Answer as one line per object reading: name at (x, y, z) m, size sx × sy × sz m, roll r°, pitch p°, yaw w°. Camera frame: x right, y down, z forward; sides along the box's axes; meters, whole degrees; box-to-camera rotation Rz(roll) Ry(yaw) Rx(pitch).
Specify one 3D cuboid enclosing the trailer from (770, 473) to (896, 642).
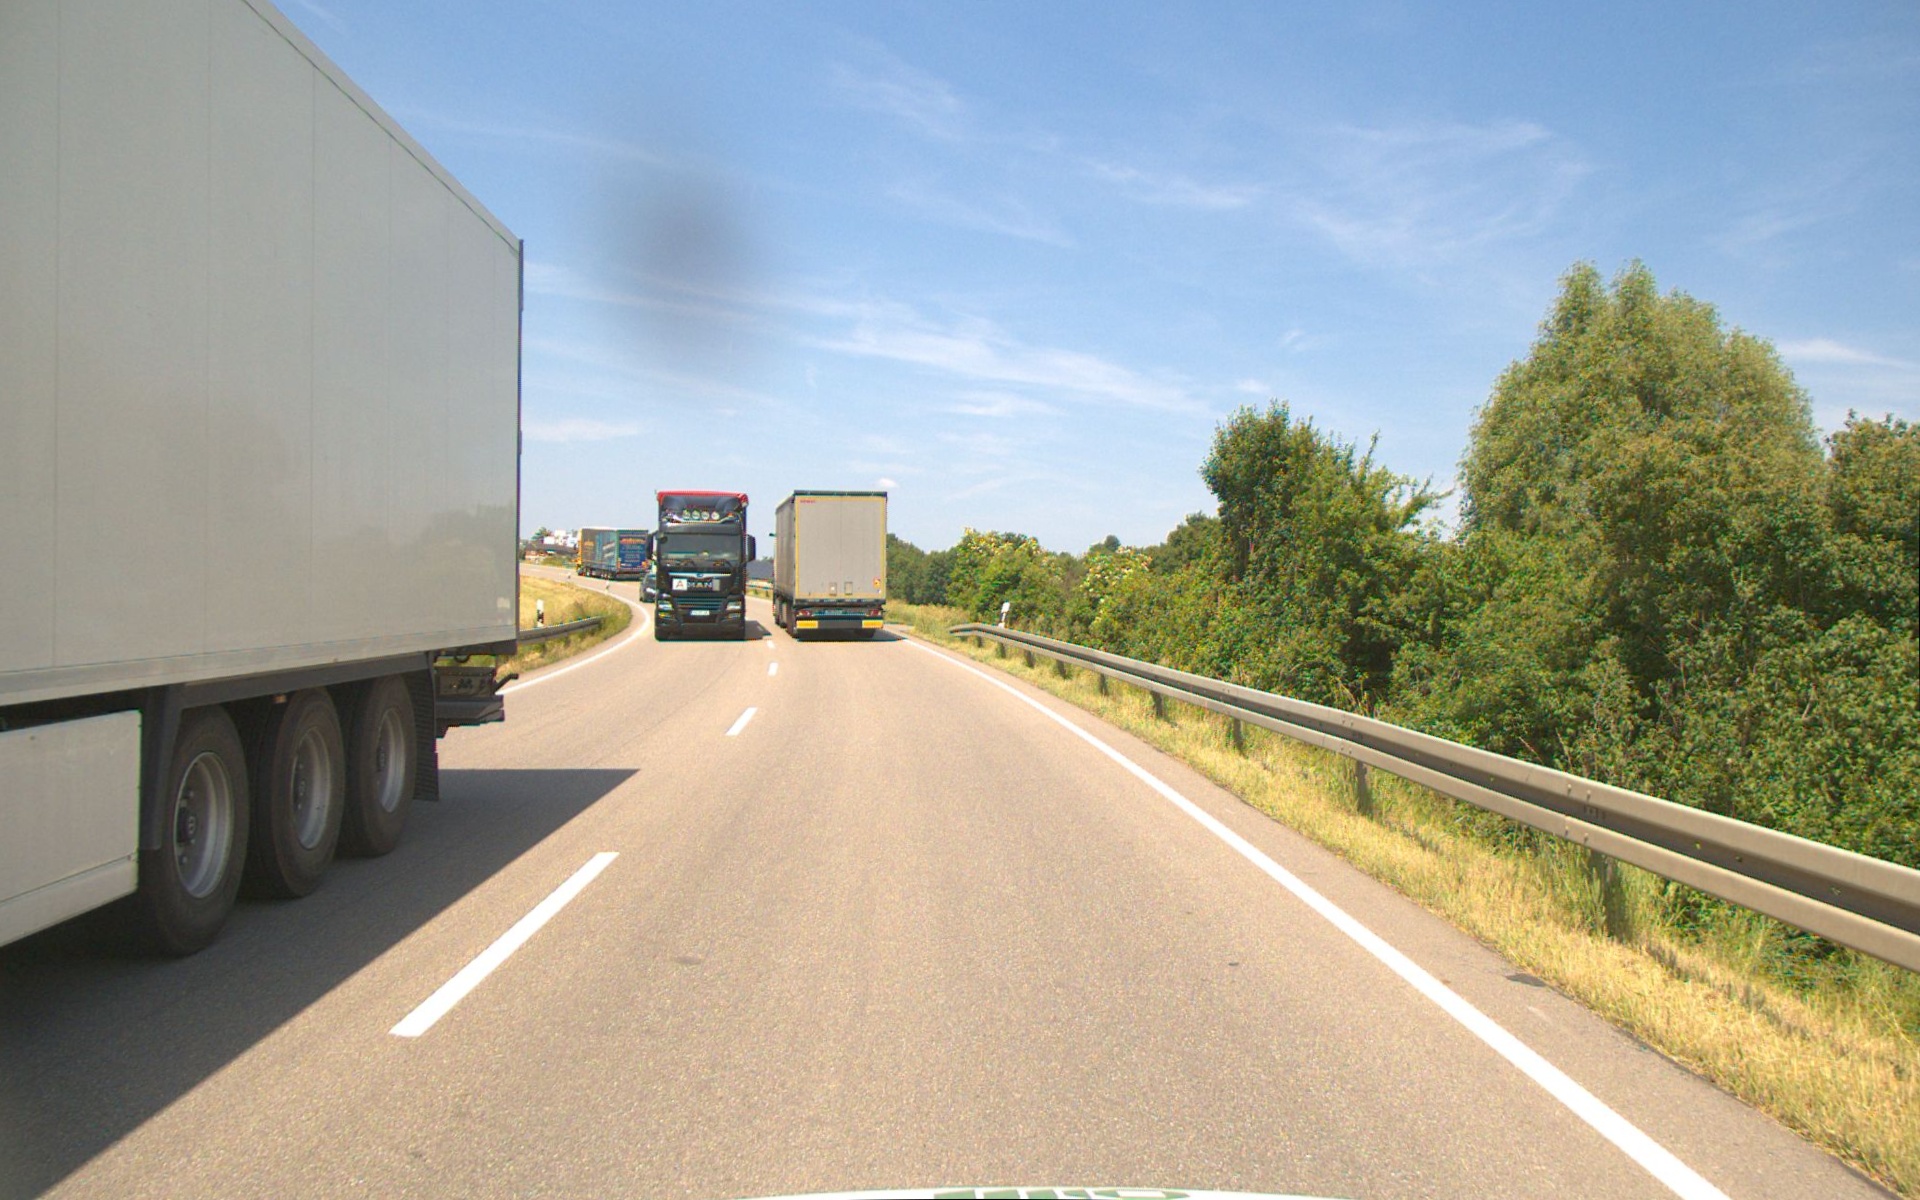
trailer at (-4.126, -1.184, 50.681) m, size 2.814 × 4.477 × 13.465 m, roll 0°, pitch 0°, yaw -9°

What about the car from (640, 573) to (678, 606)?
car at (-15.853, -0.574, 87.041) m, size 1.671 × 1.495 × 4.186 m, roll 4°, pitch 1°, yaw -14°

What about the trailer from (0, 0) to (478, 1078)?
trailer at (-4.443, -0.819, 3.803) m, size 3.306 × 4.477 × 13.738 m, roll 0°, pitch 0°, yaw -3°

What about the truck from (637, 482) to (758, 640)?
truck at (-7.589, -1.085, 48.523) m, size 3.180 × 4.222 × 6.641 m, roll 1°, pitch 0°, yaw -7°

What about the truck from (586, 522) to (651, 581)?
truck at (-28.571, -4.038, 137.505) m, size 3.493 × 4.468 × 18.037 m, roll 2°, pitch 1°, yaw -17°

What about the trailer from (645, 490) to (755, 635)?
trailer at (-8.528, -1.210, 55.543) m, size 3.180 × 4.222 × 14.421 m, roll 0°, pitch 1°, yaw -7°

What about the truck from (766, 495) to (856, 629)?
truck at (-5.268, -1.282, 57.906) m, size 2.806 × 4.477 × 5.060 m, roll 0°, pitch 0°, yaw -9°

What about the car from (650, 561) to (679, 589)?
car at (-20.674, -1.719, 115.674) m, size 1.696 × 1.905 × 3.986 m, roll 1°, pitch 0°, yaw -14°
